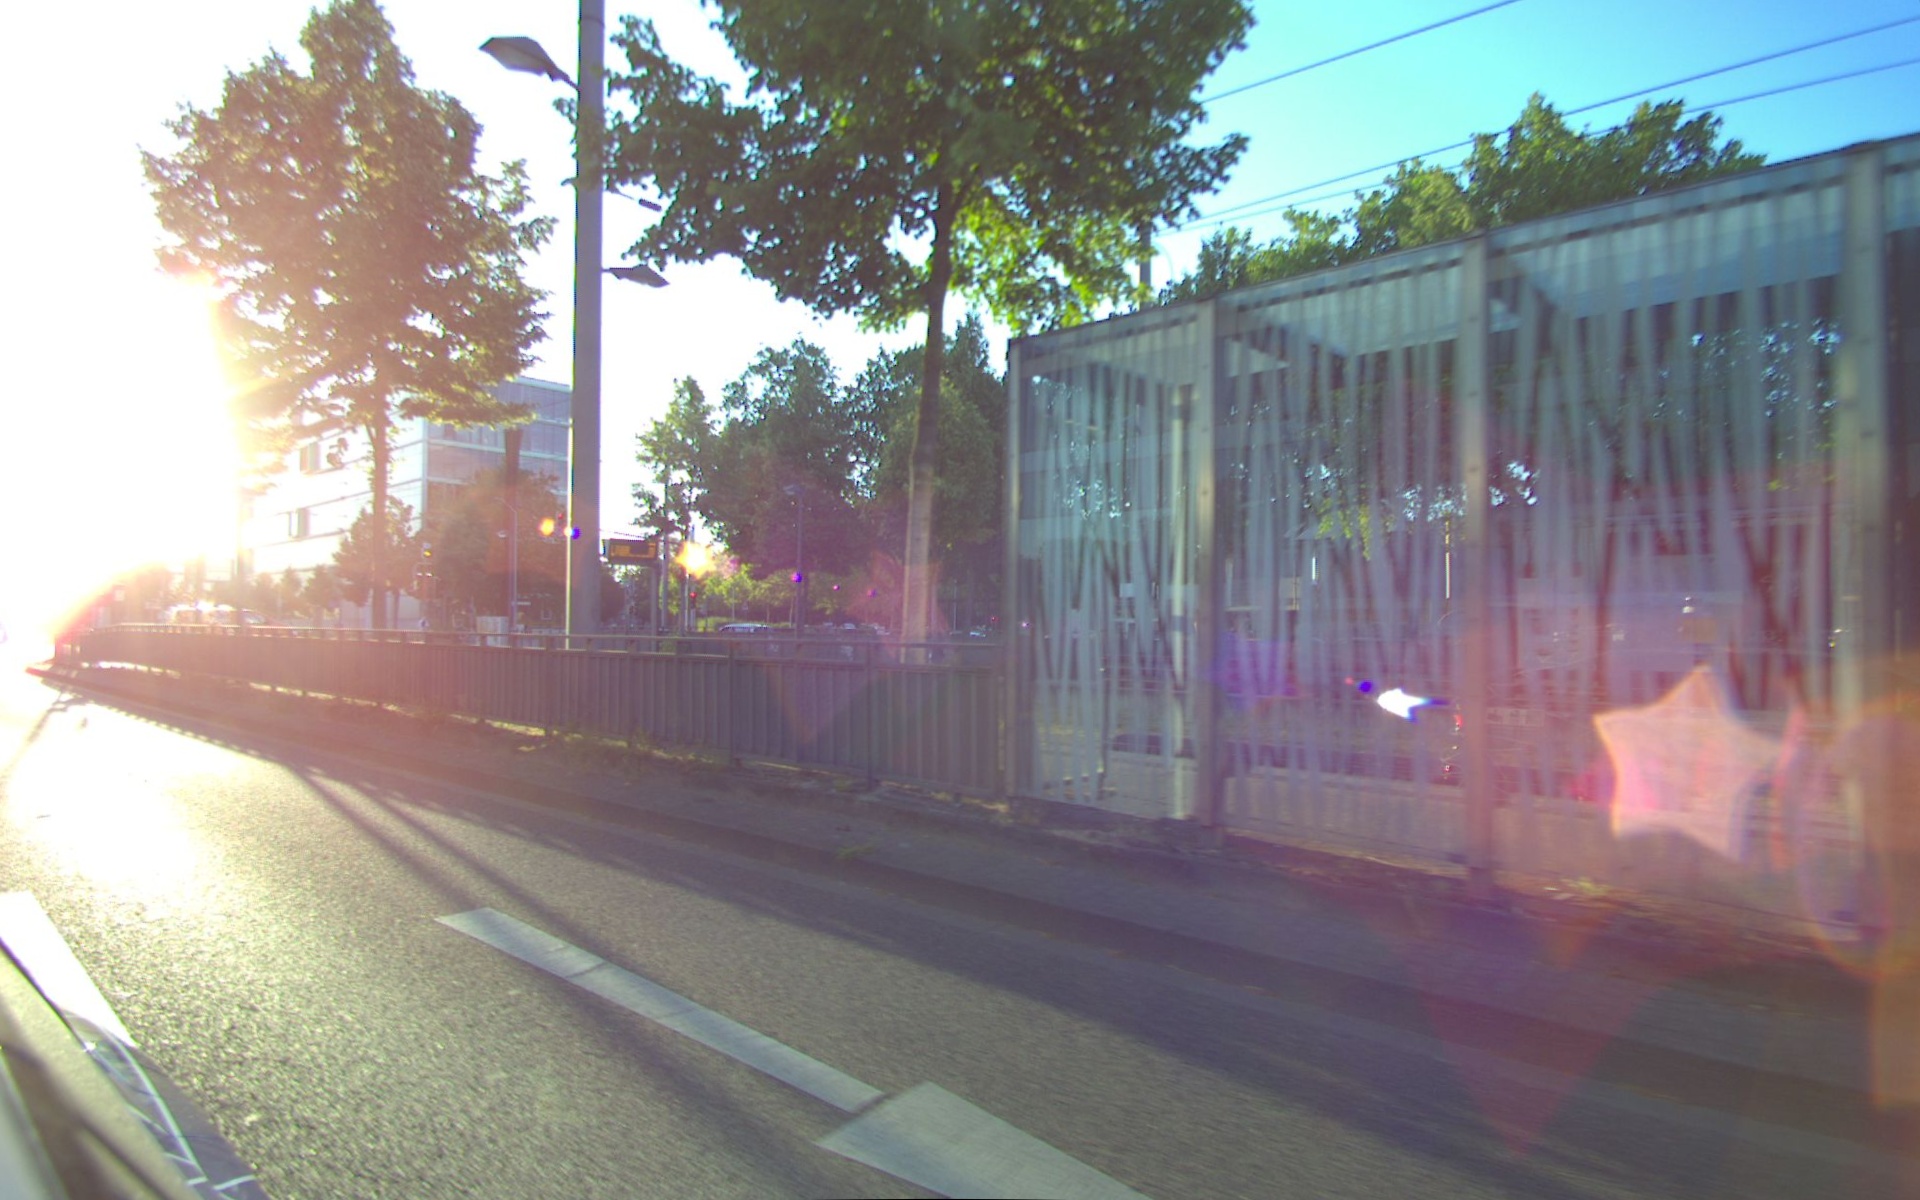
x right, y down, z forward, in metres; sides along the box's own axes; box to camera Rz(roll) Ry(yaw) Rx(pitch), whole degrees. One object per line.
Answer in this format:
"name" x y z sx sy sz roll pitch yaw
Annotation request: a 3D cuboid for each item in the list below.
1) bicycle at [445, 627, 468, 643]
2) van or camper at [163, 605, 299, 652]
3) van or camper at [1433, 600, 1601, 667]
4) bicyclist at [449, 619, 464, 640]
"bicycle" -33.799 2.328 67.940 0.645 1.012 1.790 -1 -1 1
"van or camper" -33.729 1.276 46.923 2.000 2.029 4.820 -2 -1 42
"van or camper" 22.947 1.378 41.901 2.363 2.583 5.639 2 -2 -43
"bicyclist" -33.812 1.981 67.920 0.645 1.327 0.641 -1 -1 2
